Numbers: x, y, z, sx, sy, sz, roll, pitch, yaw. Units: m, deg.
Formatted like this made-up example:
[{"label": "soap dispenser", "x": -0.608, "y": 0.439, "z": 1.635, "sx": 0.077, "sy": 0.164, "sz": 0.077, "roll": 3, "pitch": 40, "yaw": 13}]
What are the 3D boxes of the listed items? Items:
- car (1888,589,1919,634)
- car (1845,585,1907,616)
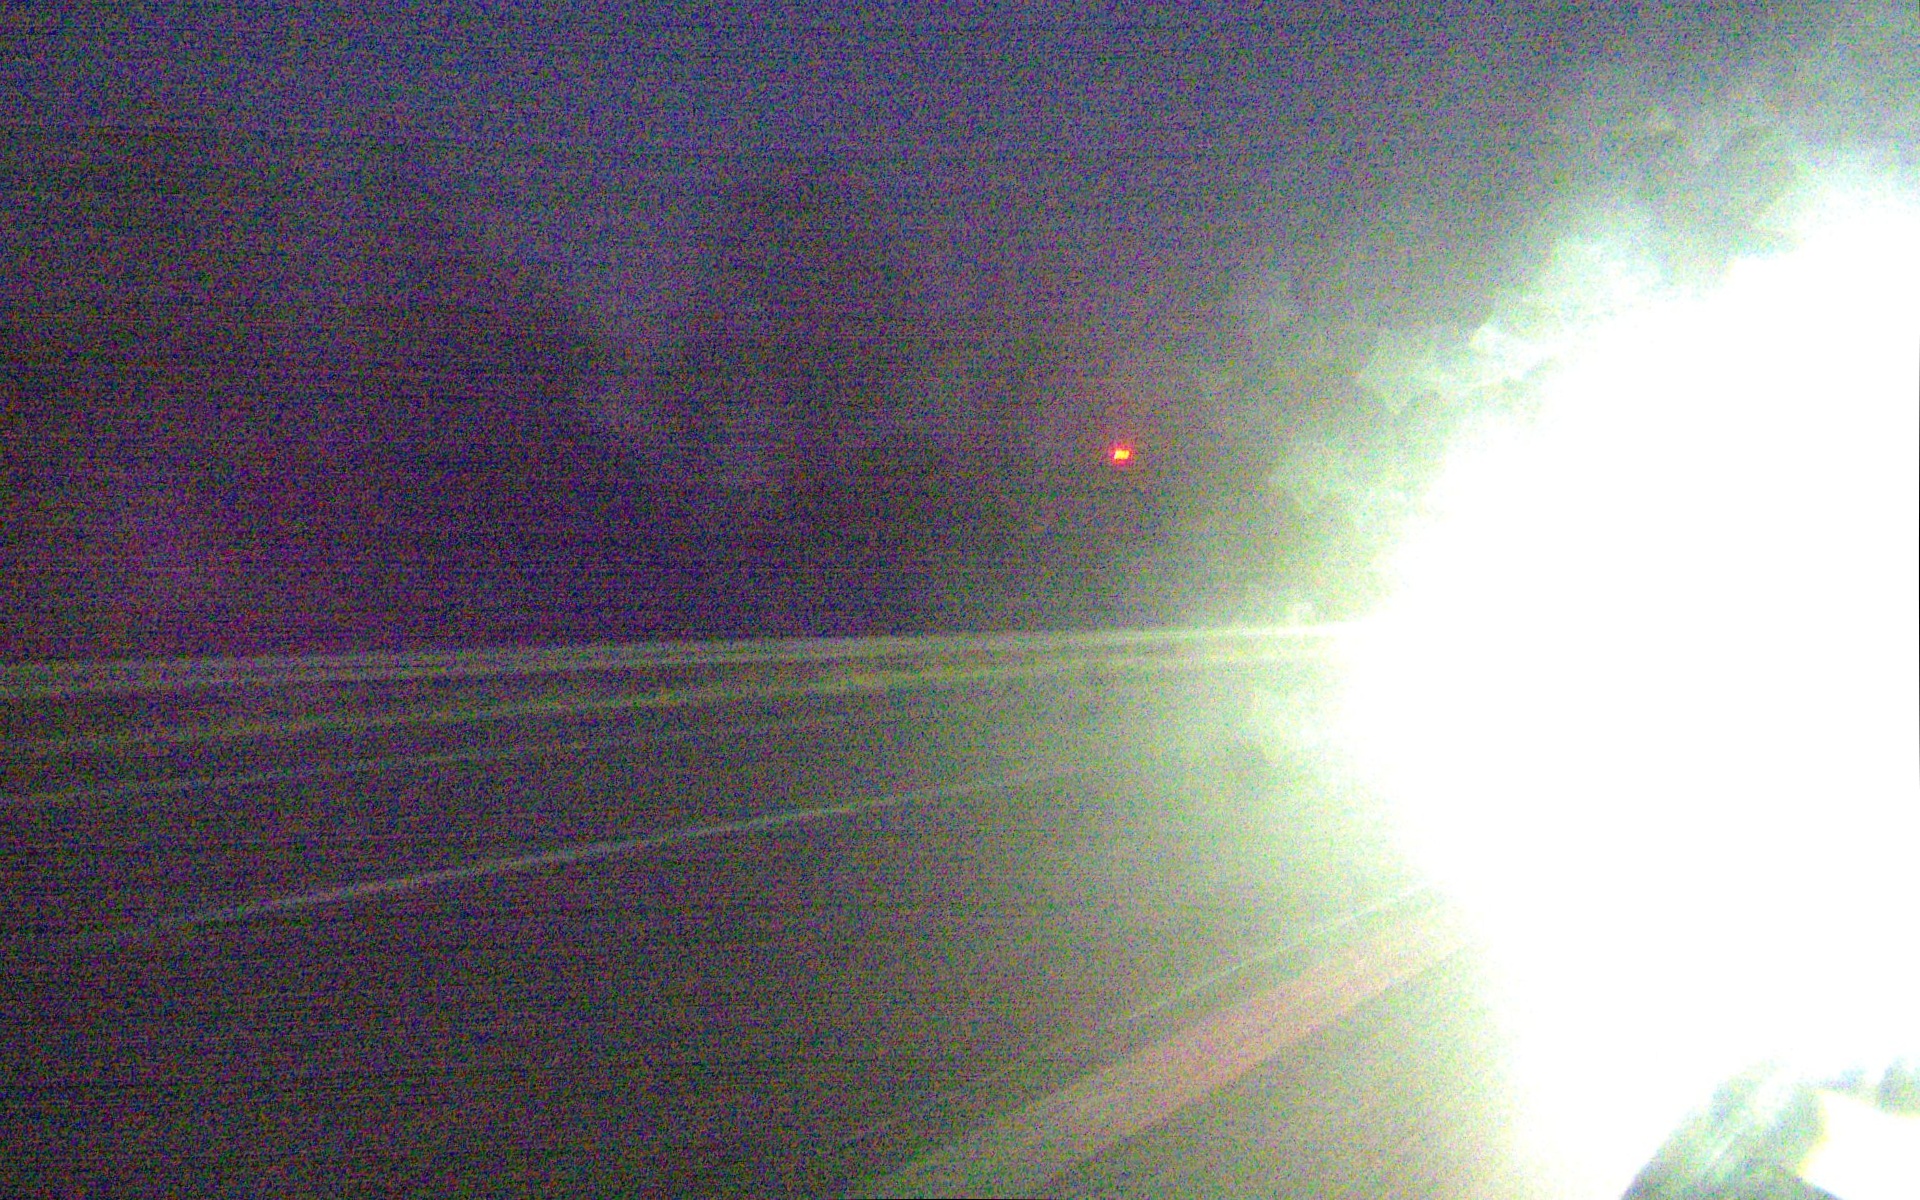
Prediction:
[{"label": "car", "x": 38.223, "y": 0.436, "z": 40.106, "sx": 3.931, "sy": 1.712, "sz": 1.791, "roll": -1, "pitch": 1, "yaw": -42}, {"label": "car", "x": 51.625, "y": 0.000, "z": 57.002, "sx": 4.570, "sy": 1.619, "sz": 1.997, "roll": -1, "pitch": 1, "yaw": -40}]
